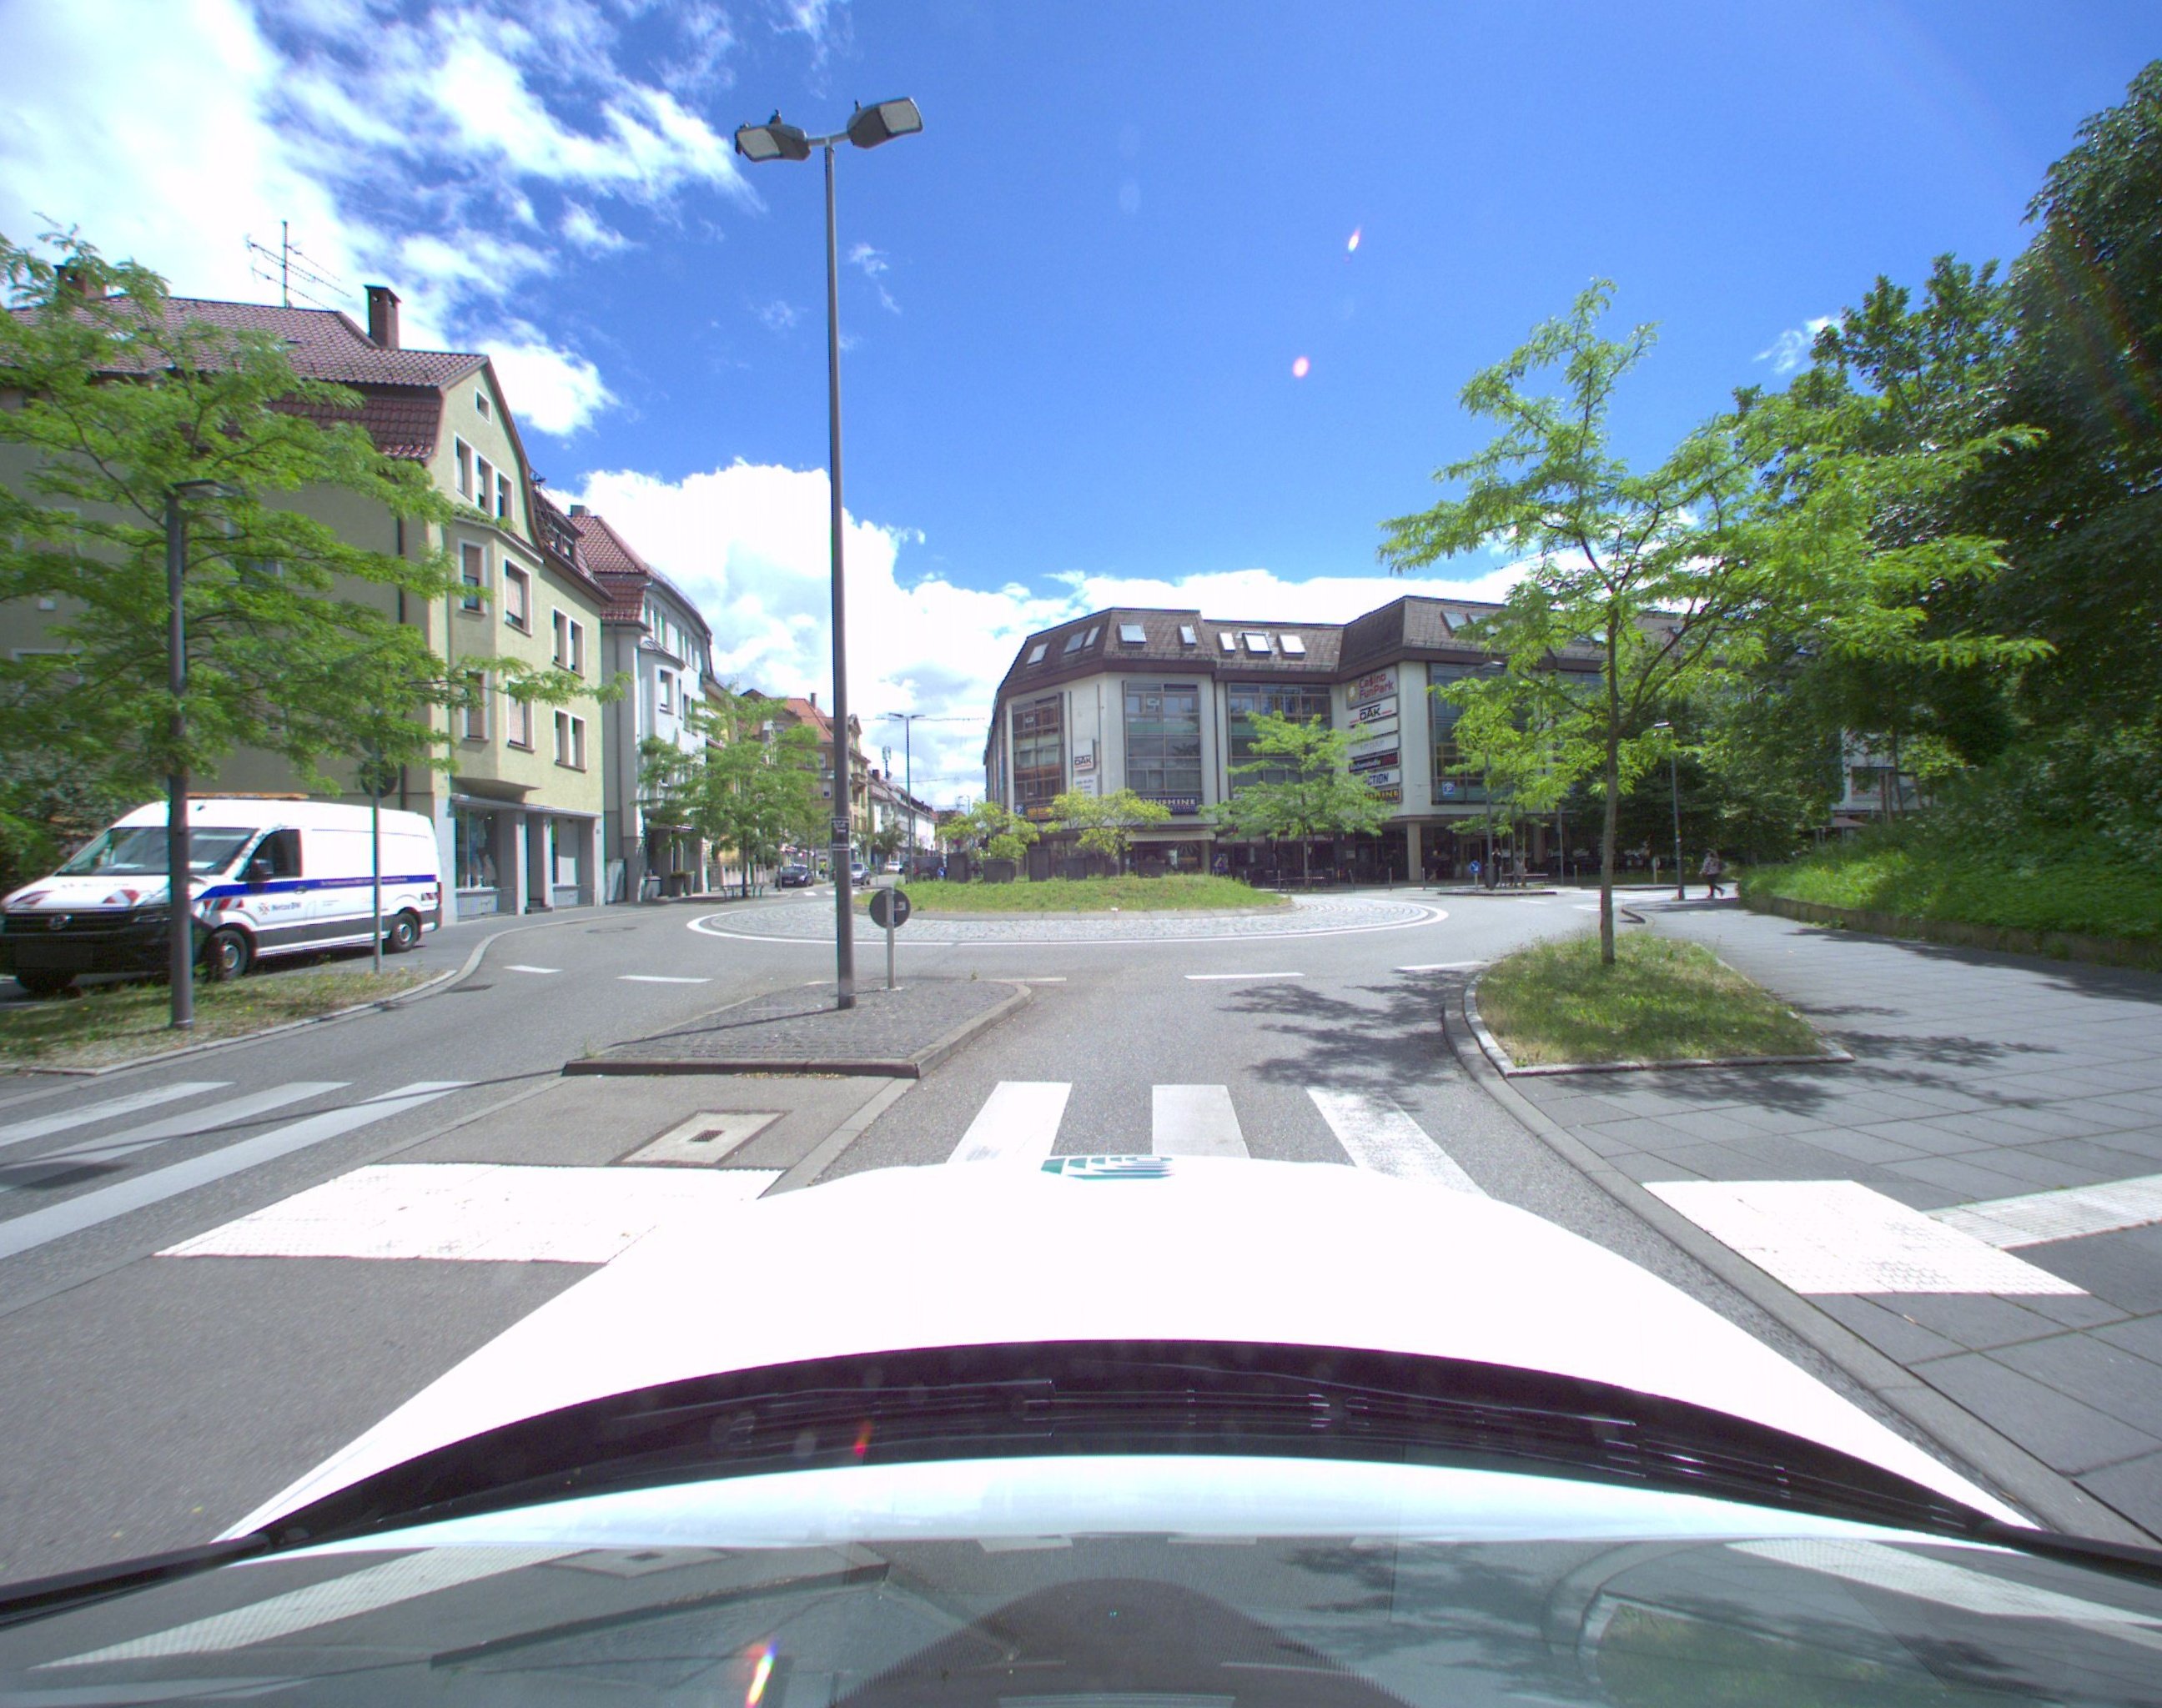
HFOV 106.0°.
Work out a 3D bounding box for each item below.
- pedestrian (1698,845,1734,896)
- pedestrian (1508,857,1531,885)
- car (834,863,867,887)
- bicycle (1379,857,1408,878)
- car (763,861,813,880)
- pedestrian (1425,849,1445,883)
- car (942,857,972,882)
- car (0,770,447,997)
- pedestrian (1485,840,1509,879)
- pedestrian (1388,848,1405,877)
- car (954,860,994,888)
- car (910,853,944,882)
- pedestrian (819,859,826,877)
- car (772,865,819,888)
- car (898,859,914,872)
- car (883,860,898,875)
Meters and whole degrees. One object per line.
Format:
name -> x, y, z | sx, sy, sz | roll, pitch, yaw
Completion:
pedestrian -> 19.967, 0.517, 25.603 | 0.756, 1.554, 0.784 | -1, 0, 28
pedestrian -> 20.501, 0.773, 38.082 | 0.614, 1.285, 0.696 | 0, 0, -6
car -> -14.562, 1.290, 51.596 | 1.711, 1.354, 3.984 | -1, 0, -12
bicycle -> 18.246, 0.789, 47.605 | 1.524, 1.168, 0.499 | 0, -2, 25
car -> -28.644, 1.586, 79.660 | 4.439, 1.776, 1.984 | -1, -1, -24
pedestrian -> 17.784, 0.590, 40.910 | 0.700, 1.674, 0.611 | 0, -1, -32
car -> -9.218, 1.148, 60.631 | 1.821, 1.731, 4.226 | -2, 0, -5
car -> -12.409, 0.358, 12.384 | 1.969, 2.607, 5.905 | 0, 0, -12
pedestrian -> 20.162, 0.264, 39.497 | 0.616, 1.818, 0.695 | -5, 1, -14
pedestrian -> 18.511, 0.513, 47.747 | 0.698, 1.674, 0.613 | 0, 0, -19
car -> -6.832, 1.217, 51.523 | 1.996, 1.688, 4.670 | 1, -1, -14
car -> -9.741, 0.854, 51.253 | 1.826, 1.707, 4.419 | 1, -1, -14
pedestrian -> -23.500, 1.257, 73.942 | 0.551, 1.686, 0.514 | -1, 0, -11
car -> -17.371, 1.344, 49.744 | 1.708, 1.245, 4.401 | -1, 0, -7
car -> -19.762, 1.310, 92.044 | 1.711, 1.354, 3.984 | -1, 0, -12
car -> -23.235, 1.637, 99.525 | 1.711, 1.712, 3.984 | -1, 0, -12
